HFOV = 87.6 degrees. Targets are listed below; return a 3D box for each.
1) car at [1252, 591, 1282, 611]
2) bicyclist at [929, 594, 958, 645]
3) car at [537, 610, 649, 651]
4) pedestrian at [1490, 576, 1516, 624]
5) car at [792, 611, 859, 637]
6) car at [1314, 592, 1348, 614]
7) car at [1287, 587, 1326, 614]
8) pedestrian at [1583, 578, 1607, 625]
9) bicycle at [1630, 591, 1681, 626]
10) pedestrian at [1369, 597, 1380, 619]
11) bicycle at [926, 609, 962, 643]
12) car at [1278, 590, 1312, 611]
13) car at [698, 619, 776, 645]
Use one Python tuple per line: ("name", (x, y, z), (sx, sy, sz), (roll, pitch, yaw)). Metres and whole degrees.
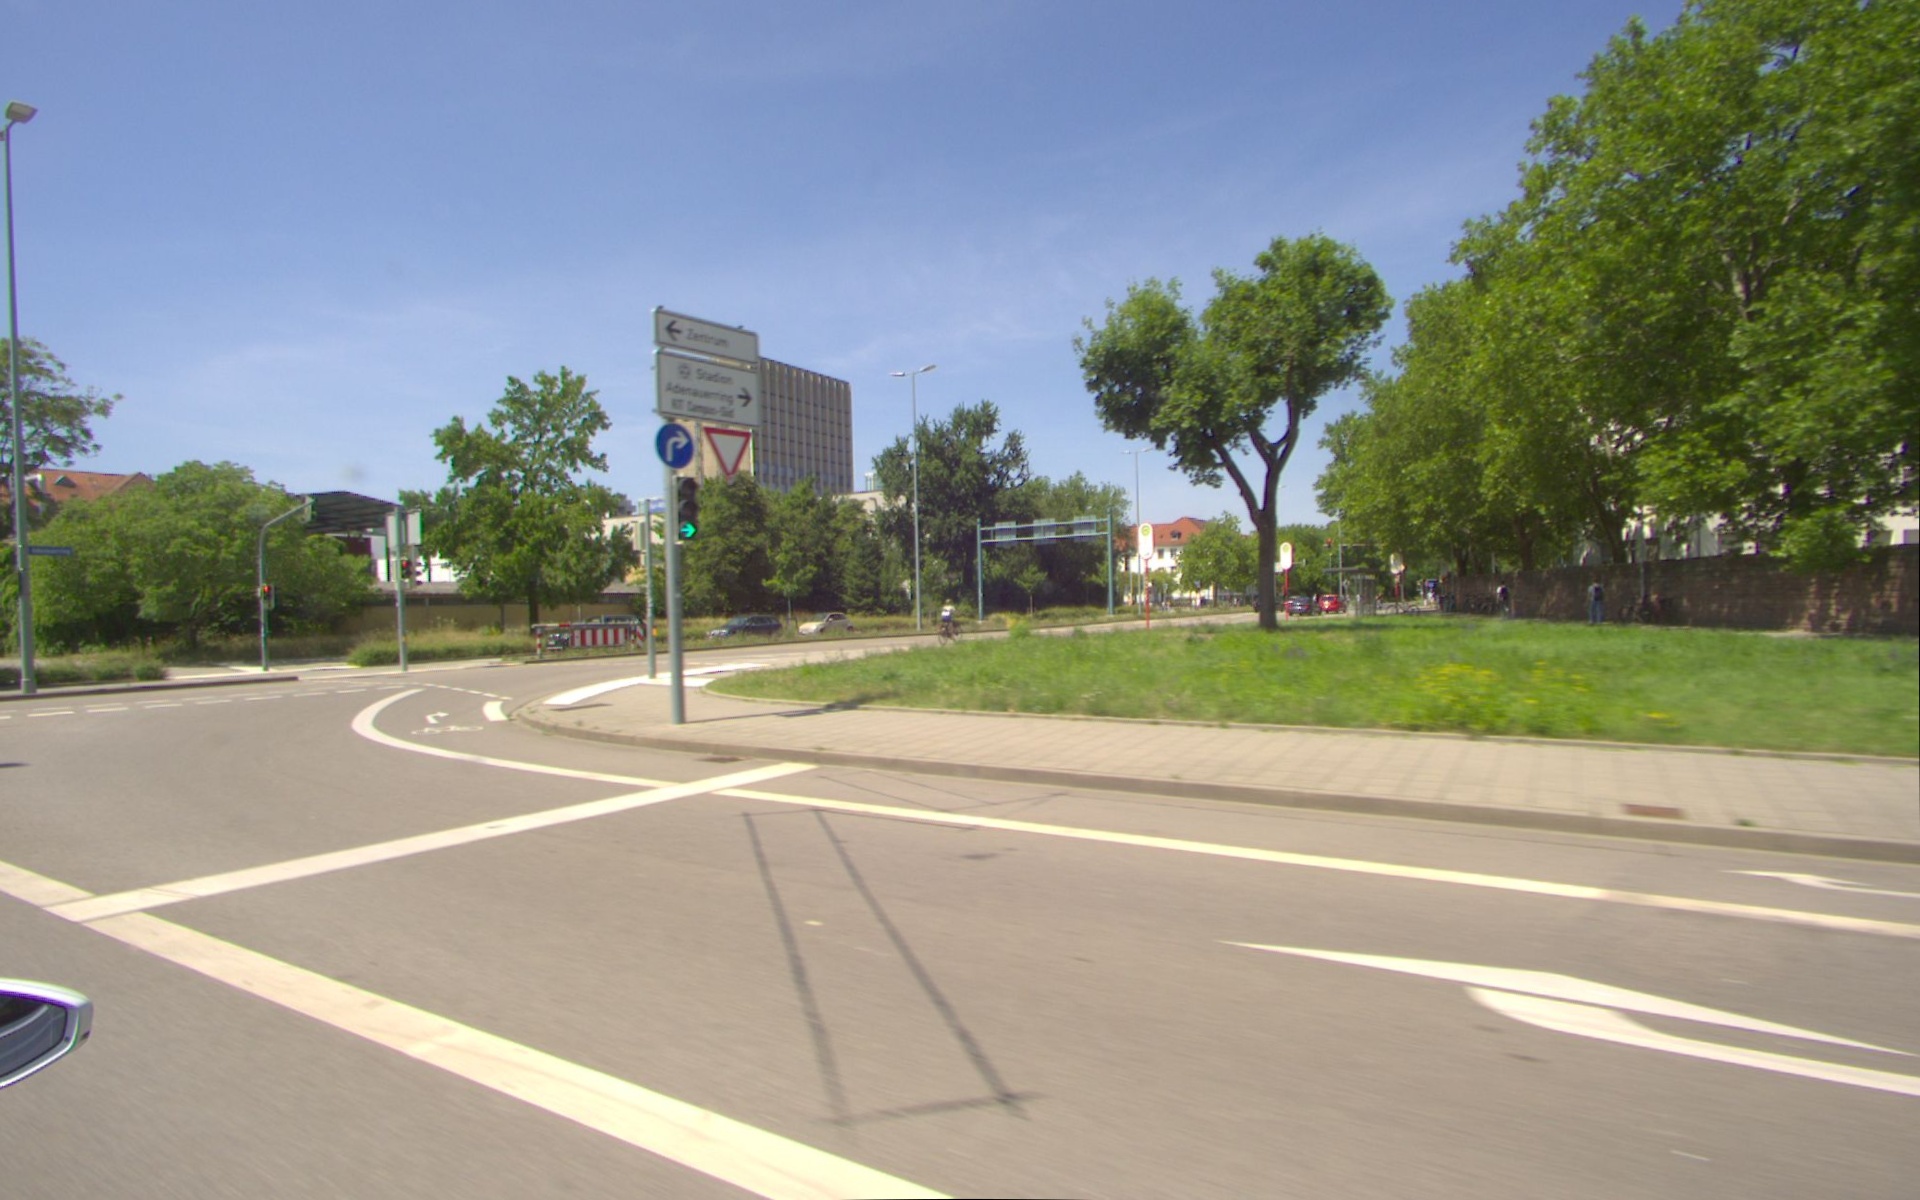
("car", (27.751, 0.137, 90.450), (1.752, 1.689, 3.982), (-1, -2, 31))
("bicyclist", (-0.637, 0.746, 38.149), (0.697, 1.911, 1.136), (-1, -1, 23))
("car", (-16.462, 1.342, 45.076), (1.688, 1.607, 4.522), (-2, 0, 38))
("pedestrian", (26.486, 0.014, 48.844), (0.833, 2.320, 1.075), (-1, -1, 12))
("car", (-7.728, 1.411, 57.800), (1.734, 1.457, 3.981), (-1, -2, 31))
("car", (31.487, 0.273, 85.030), (1.758, 1.705, 3.976), (-1, -2, 35))
("car", (27.686, 0.068, 80.014), (1.972, 2.039, 4.192), (-1, -2, 33))
("pedestrian", (24.140, 0.071, 38.043), (0.578, 1.743, 0.527), (0, -1, 8))
("bicycle", (24.832, 0.330, 35.792), (0.449, 1.197, 2.170), (0, -2, 4))
("pedestrian", (37.733, 0.726, 91.135), (0.778, 2.039, 0.836), (-1, -1, 33))
("bicycle", (-0.600, 0.987, 38.126), (0.512, 1.253, 2.186), (-1, -2, 24))
("car", (29.735, 0.040, 88.789), (1.758, 1.705, 3.976), (-1, -2, 35))
("car", (-11.565, 1.675, 52.222), (1.734, 1.327, 3.981), (-1, -2, 31))
